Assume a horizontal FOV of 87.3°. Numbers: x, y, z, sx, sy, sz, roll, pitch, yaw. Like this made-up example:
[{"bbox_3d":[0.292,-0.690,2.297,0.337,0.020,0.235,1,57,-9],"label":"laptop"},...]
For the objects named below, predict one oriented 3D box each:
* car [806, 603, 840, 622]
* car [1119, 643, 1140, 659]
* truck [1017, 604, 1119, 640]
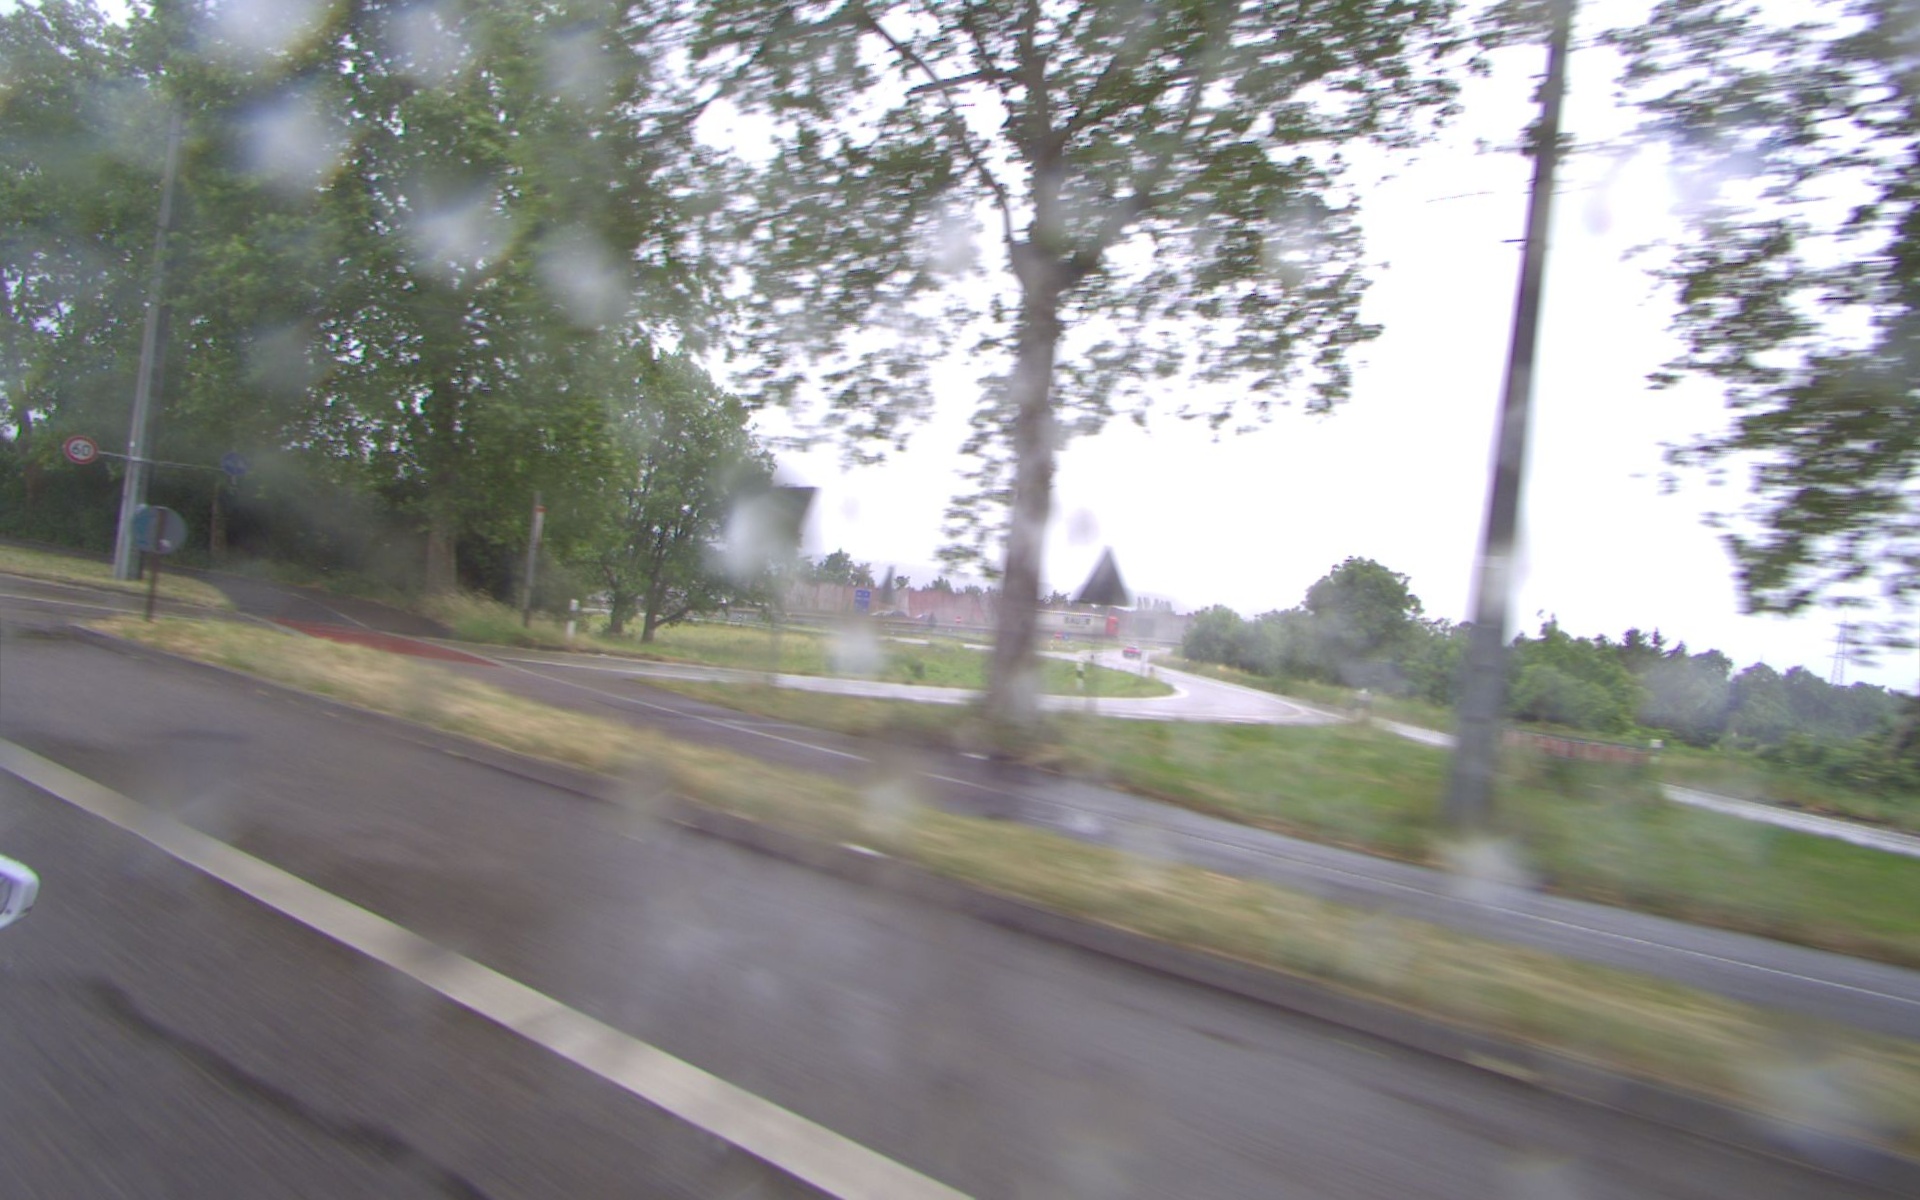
[{"bbox_3d":[-18.336,1.649,134.438,3.954,2.038,1.986,7,0,-29],"label":"car"},{"bbox_3d":[18.732,5.664,111.131,1.651,1.436,3.611,8,-2,17],"label":"car"},{"bbox_3d":[16.930,3.408,156.034,16.577,4.212,3.267,5,1,-29],"label":"truck"}]
